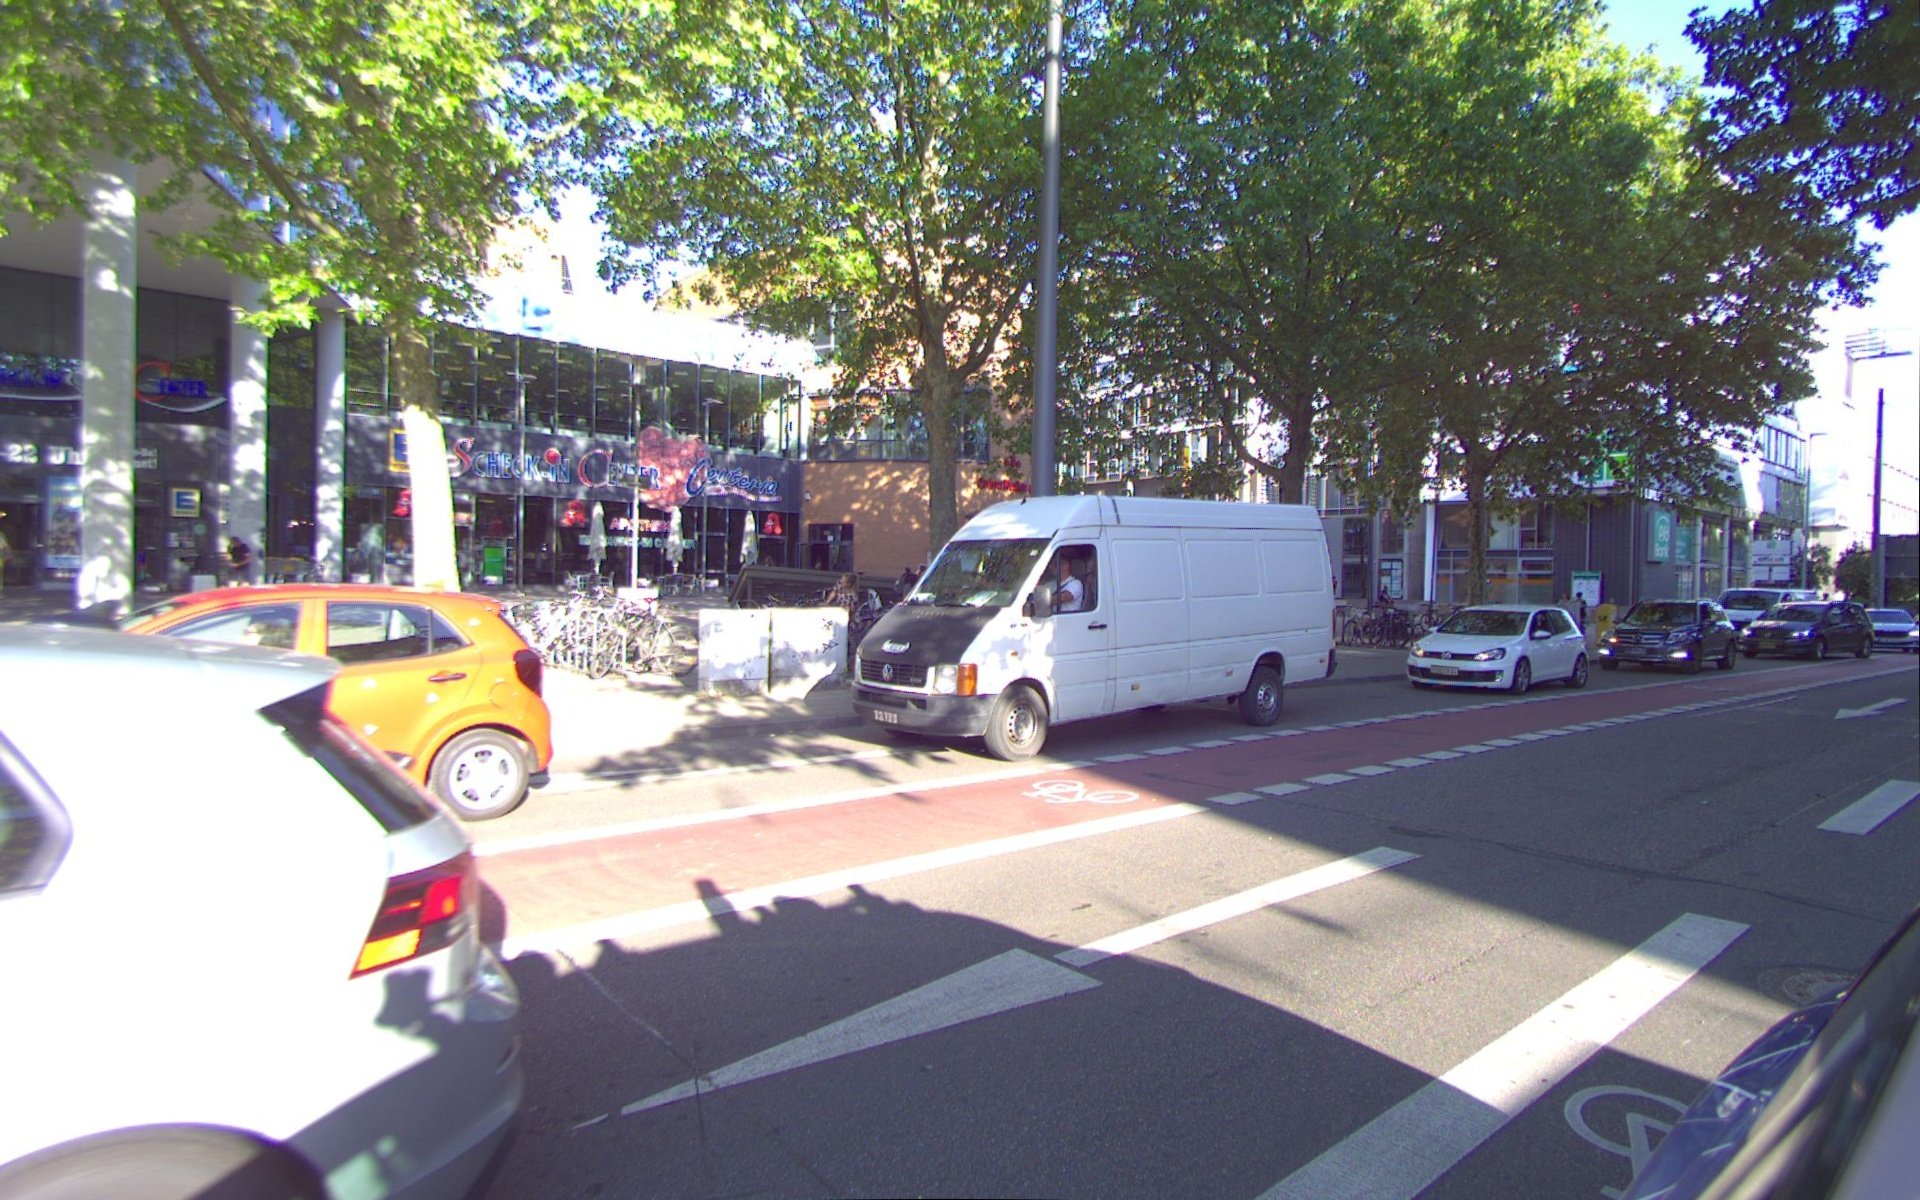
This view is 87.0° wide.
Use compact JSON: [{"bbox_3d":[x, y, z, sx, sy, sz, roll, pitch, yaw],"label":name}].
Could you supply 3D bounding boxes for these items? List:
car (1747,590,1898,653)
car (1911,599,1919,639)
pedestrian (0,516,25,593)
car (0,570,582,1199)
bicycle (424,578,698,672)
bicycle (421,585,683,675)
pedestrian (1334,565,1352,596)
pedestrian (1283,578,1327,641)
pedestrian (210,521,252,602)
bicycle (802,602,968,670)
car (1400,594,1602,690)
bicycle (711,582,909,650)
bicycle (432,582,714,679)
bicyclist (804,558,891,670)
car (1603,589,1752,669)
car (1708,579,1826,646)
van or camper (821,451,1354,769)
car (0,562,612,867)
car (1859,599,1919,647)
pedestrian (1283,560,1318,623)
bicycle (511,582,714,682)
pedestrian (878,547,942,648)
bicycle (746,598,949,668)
[{"bbox_3d":[24.297,0.569,28.479,4.300,1.656,1.714,0,0,-27],"label":"car"},{"bbox_3d":[38.270,0.728,38.642,4.112,1.508,1.838,0,-1,-32],"label":"car"},{"bbox_3d":[-24.213,-1.154,25.323,0.857,1.912,0.813,1,2,2],"label":"pedestrian"},{"bbox_3d":[-2.784,0.650,1.334,3.927,1.436,1.752,1,0,-39],"label":"car"},{"bbox_3d":[-5.925,0.415,15.308,3.743,1.236,0.729,4,-2,-35],"label":"bicycle"},{"bbox_3d":[-6.337,0.413,15.969,3.746,1.236,0.793,-2,1,-37],"label":"bicycle"},{"bbox_3d":[25.018,-1.276,66.145,0.860,2.039,0.796,0,0,-41],"label":"pedestrian"},{"bbox_3d":[12.622,0.349,37.045,1.195,2.276,1.052,0,0,-3],"label":"pedestrian"},{"bbox_3d":[-18.850,-0.970,26.190,0.843,2.039,1.024,0,0,-34],"label":"pedestrian"},{"bbox_3d":[-1.142,0.530,15.962,2.591,0.960,0.924,-1,0,-41],"label":"bicycle"},{"bbox_3d":[9.320,0.639,17.313,3.914,1.446,1.639,0,0,-38],"label":"car"},{"bbox_3d":[-2.545,0.232,17.623,3.352,1.013,1.051,-1,6,-41],"label":"bicycle"},{"bbox_3d":[-5.512,0.381,14.696,3.744,1.236,0.758,-2,1,-35],"label":"bicycle"},{"bbox_3d":[-1.739,0.199,15.600,1.005,1.641,0.902,0,0,-41],"label":"bicyclist"},{"bbox_3d":[16.333,0.585,22.966,4.174,1.656,1.768,0,0,-40],"label":"car"},{"bbox_3d":[26.108,0.371,32.665,5.814,1.989,1.932,0,0,-41],"label":"car"},{"bbox_3d":[1.739,0.057,11.232,6.381,2.647,2.004,0,1,-39],"label":"van or camper"},{"bbox_3d":[-4.184,0.545,6.297,3.533,1.478,1.493,0,0,-40],"label":"car"},{"bbox_3d":[31.347,0.730,33.898,1.830,1.508,4.131,1,0,42],"label":"car"},{"bbox_3d":[12.483,-0.325,37.082,0.884,2.261,0.845,0,0,-19],"label":"pedestrian"},{"bbox_3d":[-4.705,0.386,13.835,2.504,1.236,0.758,-2,1,-35],"label":"bicycle"},{"bbox_3d":[-1.027,-0.070,21.123,0.922,2.039,1.085,2,1,24],"label":"pedestrian"},{"bbox_3d":[-1.787,0.498,16.722,3.352,1.014,1.050,-1,0,-41],"label":"bicycle"}]
